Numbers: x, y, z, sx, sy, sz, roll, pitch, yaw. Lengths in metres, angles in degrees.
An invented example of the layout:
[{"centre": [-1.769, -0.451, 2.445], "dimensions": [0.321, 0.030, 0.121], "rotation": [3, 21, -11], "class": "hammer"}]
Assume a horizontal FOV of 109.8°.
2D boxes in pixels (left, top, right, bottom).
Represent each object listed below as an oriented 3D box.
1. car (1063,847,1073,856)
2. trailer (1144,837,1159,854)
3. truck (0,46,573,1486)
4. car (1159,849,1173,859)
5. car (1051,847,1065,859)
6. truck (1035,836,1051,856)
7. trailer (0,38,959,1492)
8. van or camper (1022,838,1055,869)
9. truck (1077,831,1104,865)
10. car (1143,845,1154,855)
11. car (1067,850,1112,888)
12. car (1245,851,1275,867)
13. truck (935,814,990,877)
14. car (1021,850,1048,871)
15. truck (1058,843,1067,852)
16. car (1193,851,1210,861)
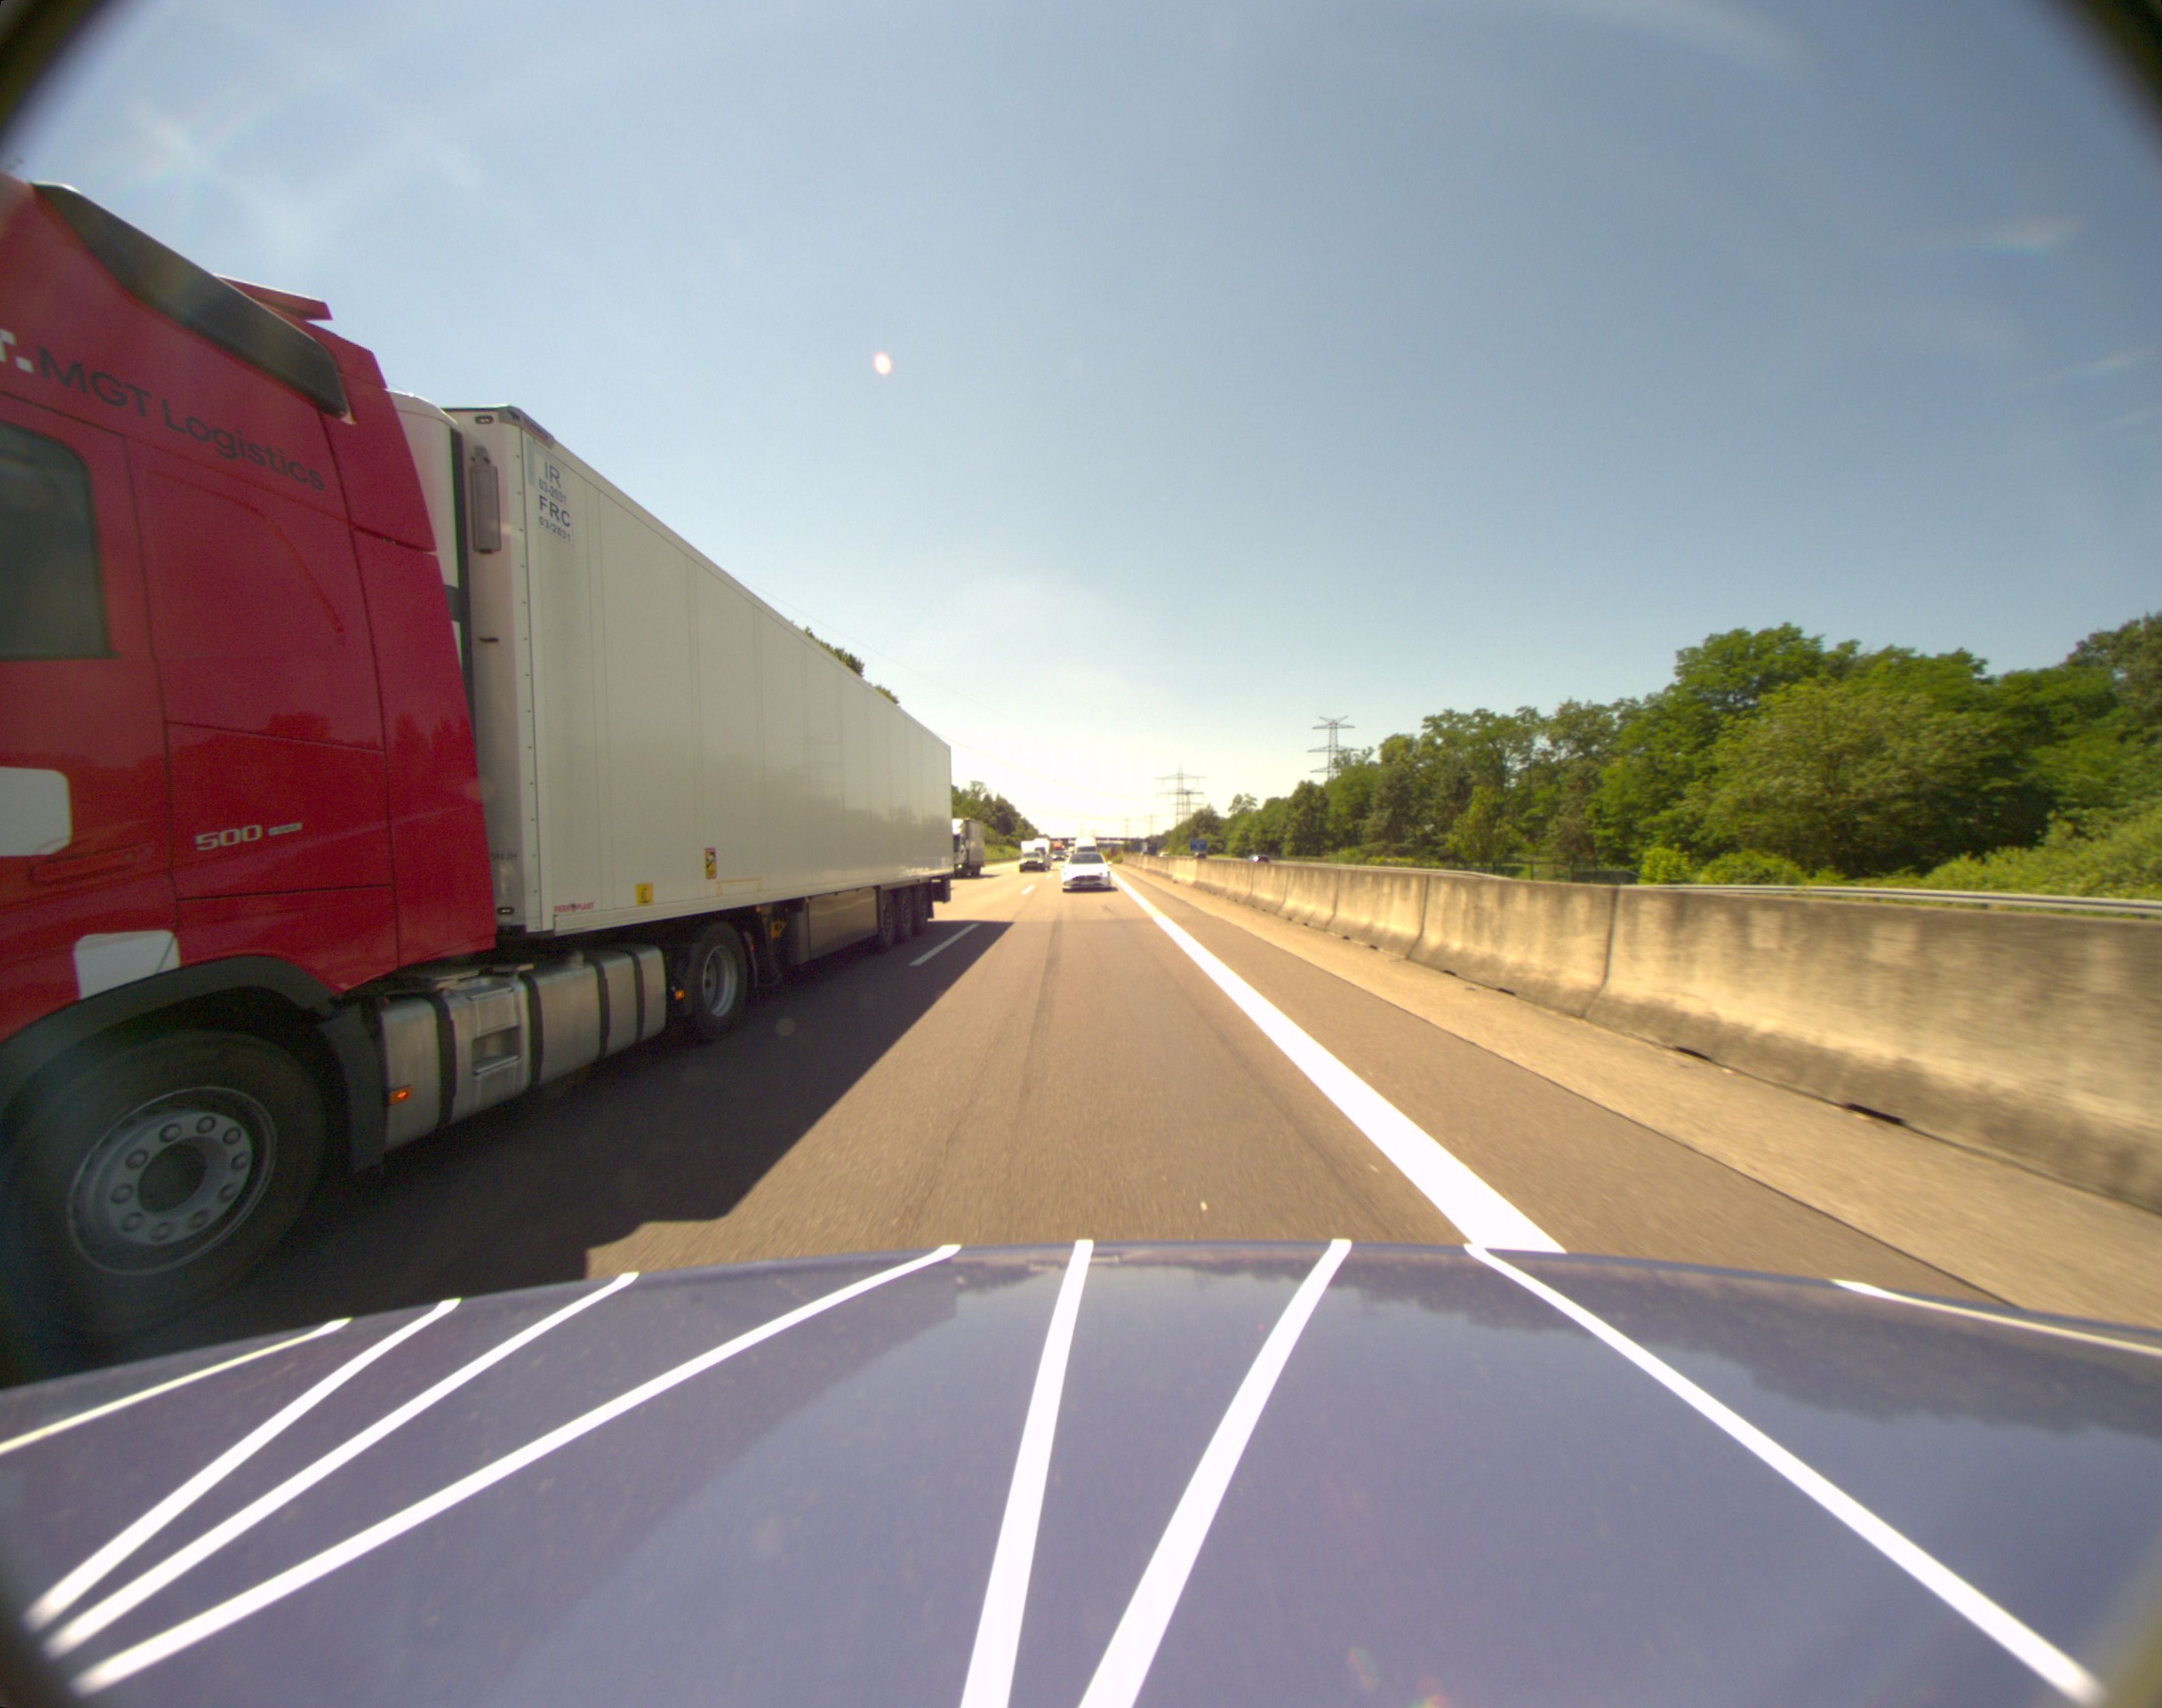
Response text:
[{"centre": [-2.844, -0.558, 169.696], "dimensions": [1.998, 2.002, 4.000], "rotation": [1, 1, 0], "class": "car"}, {"centre": [18.439, -2.237, 199.724], "dimensions": [2.478, 4.107, 13.464], "rotation": [2, 0, 0], "class": "trailer"}, {"centre": [-4.444, -0.227, 1.248], "dimensions": [2.948, 3.963, 6.100], "rotation": [-2, 1, 0], "class": "truck"}, {"centre": [13.795, -0.063, 123.218], "dimensions": [1.778, 1.529, 4.683], "rotation": [1, 0, 0], "class": "car"}, {"centre": [-3.478, -0.173, 115.856], "dimensions": [1.904, 1.662, 4.000], "rotation": [-1, 0, 0], "class": "car"}, {"centre": [-7.380, -1.551, 148.963], "dimensions": [2.584, 3.704, 8.278], "rotation": [-2, 1, 0], "class": "truck"}, {"centre": [-4.412, -0.325, 9.727], "dimensions": [2.945, 3.994, 16.197], "rotation": [-2, 1, 0], "class": "trailer"}, {"centre": [-3.521, -0.052, 64.384], "dimensions": [2.411, 2.483, 6.431], "rotation": [-1, 0, 0], "class": "van or camper"}, {"centre": [0.834, -0.490, 67.921], "dimensions": [2.192, 2.841, 5.503], "rotation": [-2, 0, 0], "class": "truck"}, {"centre": [14.863, -0.853, 168.303], "dimensions": [1.998, 2.002, 4.938], "rotation": [2, 1, 0], "class": "car"}, {"centre": [0.356, 0.589, 32.622], "dimensions": [1.788, 1.462, 3.999], "rotation": [-2, 1, 0], "class": "car"}, {"centre": [17.962, 0.447, 76.482], "dimensions": [1.913, 1.470, 4.824], "rotation": [2, 1, 0], "class": "car"}, {"centre": [-7.705, -0.558, 50.687], "dimensions": [1.987, 3.750, 10.042], "rotation": [-1, 0, 0], "class": "truck"}, {"centre": [-3.590, 0.456, 59.112], "dimensions": [1.788, 1.520, 4.104], "rotation": [-1, 0, 0], "class": "car"}, {"centre": [-5.773, -2.045, 238.700], "dimensions": [2.619, 2.801, 6.593], "rotation": [0, 0, 0], "class": "truck"}, {"centre": [18.612, 0.310, 117.549], "dimensions": [1.998, 1.549, 4.683], "rotation": [1, 0, 0], "class": "car"}]
